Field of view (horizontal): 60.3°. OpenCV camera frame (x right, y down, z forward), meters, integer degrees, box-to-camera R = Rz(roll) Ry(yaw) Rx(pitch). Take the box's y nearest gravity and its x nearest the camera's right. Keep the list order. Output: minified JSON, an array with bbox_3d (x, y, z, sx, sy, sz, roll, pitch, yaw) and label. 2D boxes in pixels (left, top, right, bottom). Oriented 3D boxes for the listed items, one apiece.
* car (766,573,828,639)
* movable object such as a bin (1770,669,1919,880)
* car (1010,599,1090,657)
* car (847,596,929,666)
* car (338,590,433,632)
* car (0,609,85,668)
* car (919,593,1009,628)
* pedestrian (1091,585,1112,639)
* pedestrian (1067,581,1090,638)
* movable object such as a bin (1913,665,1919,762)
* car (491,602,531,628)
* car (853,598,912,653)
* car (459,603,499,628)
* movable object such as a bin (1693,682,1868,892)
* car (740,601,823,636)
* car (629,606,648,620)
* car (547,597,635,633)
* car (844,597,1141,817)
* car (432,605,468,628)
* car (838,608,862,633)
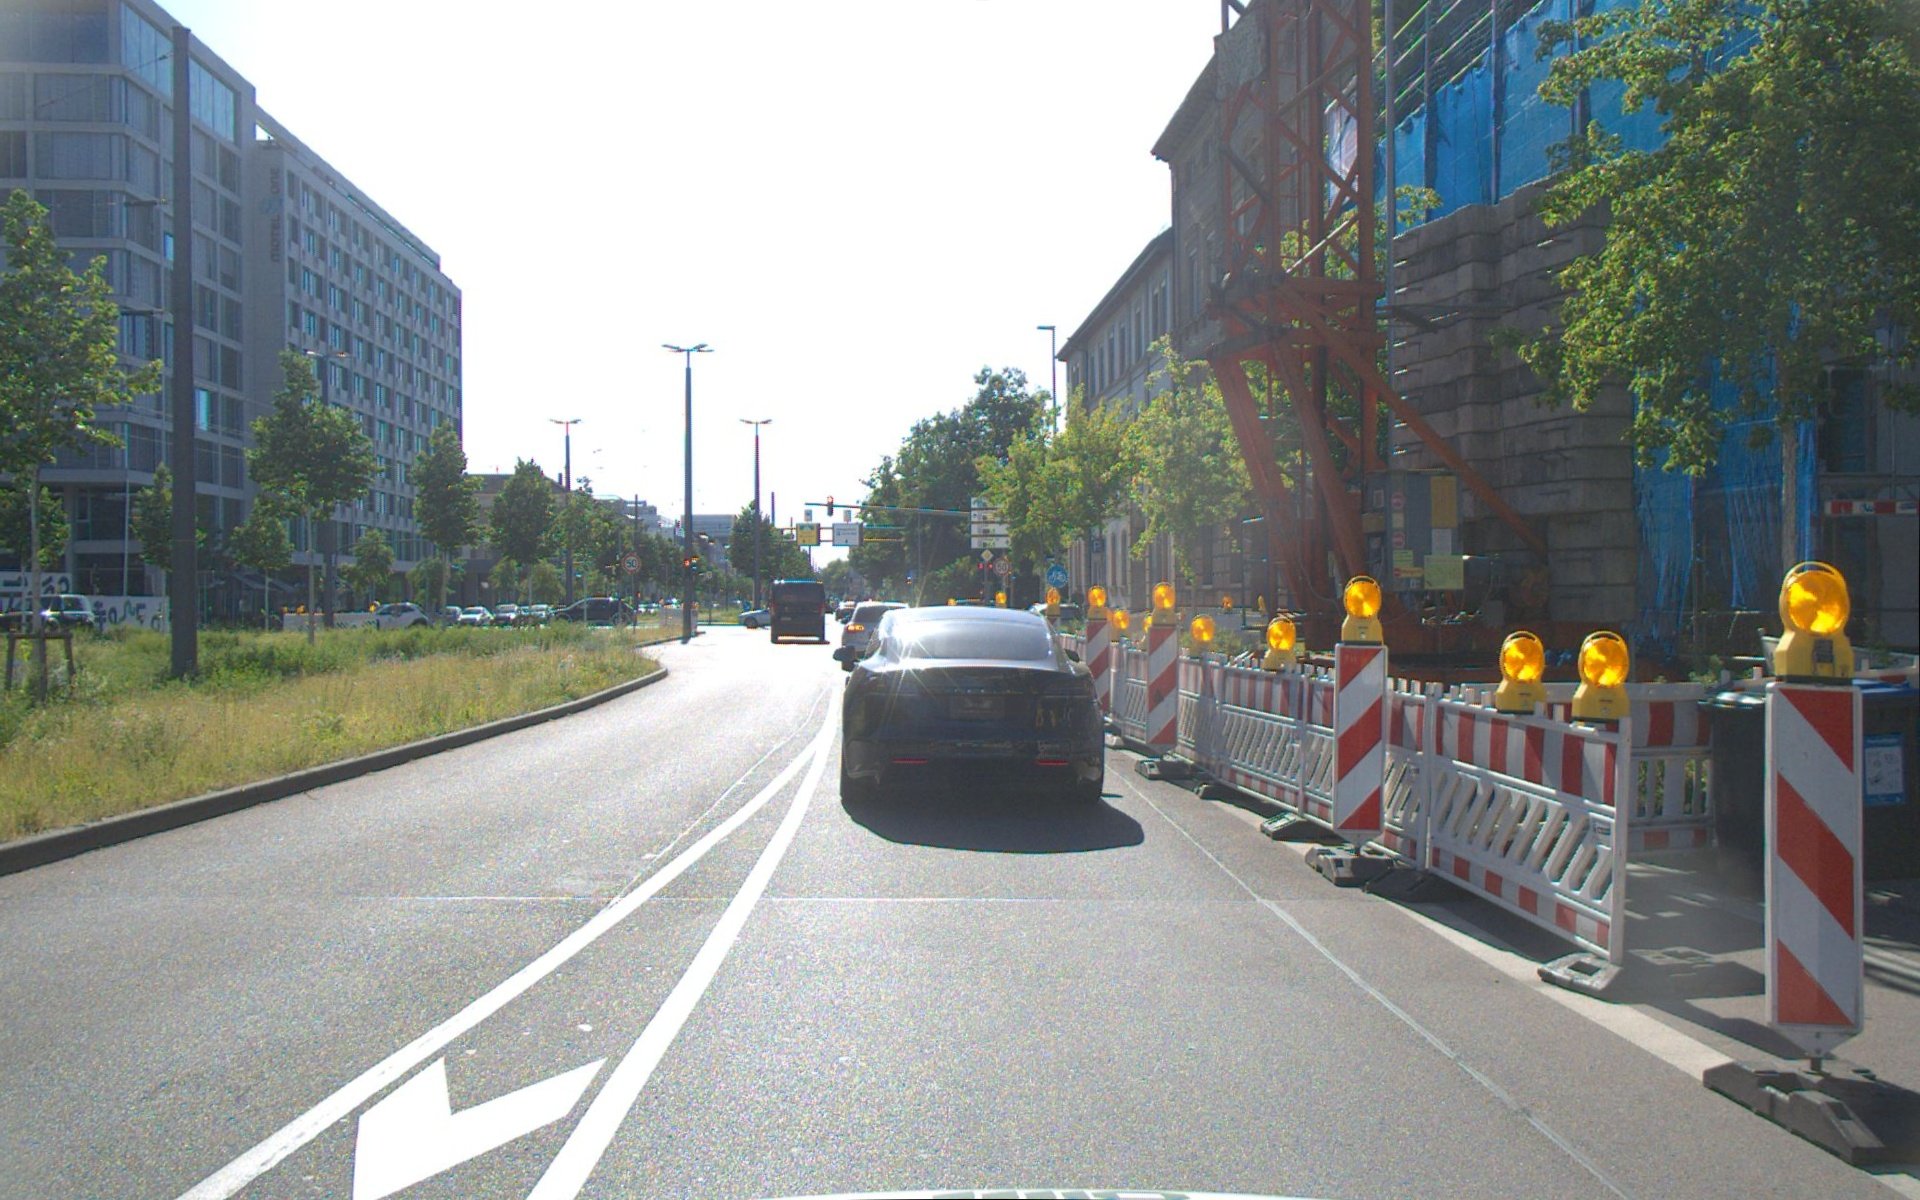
[{"bbox_3d":[-6.060,0.202,61.889,2.175,2.307,4.479,1,0,-5],"label":"car"},{"bbox_3d":[5.119,0.968,9.411,0.583,1.076,0.730,-4,0,-3],"label":"movable object such as a bin"},{"bbox_3d":[2.502,0.753,47.056,1.615,1.501,4.696,-3,0,-4],"label":"car"},{"bbox_3d":[-1.674,0.648,37.262,1.713,1.452,4.834,1,0,-4],"label":"car"},{"bbox_3d":[-27.658,0.507,79.705,3.946,1.952,1.889,0,0,-39],"label":"car"},{"bbox_3d":[-32.885,1.316,58.204,1.869,1.952,4.329,0,0,1],"label":"car"},{"bbox_3d":[0.238,0.537,87.505,4.415,1.824,2.002,0,0,12],"label":"car"},{"bbox_3d":[4.945,0.434,57.931,0.552,1.852,0.587,-3,0,-4],"label":"pedestrian"},{"bbox_3d":[4.144,0.328,57.904,0.645,1.946,0.587,-3,0,-4],"label":"pedestrian"},{"bbox_3d":[5.982,0.900,9.385,0.577,1.076,0.782,-5,1,-8],"label":"movable object such as a bin"},{"bbox_3d":[-30.443,1.008,112.221,1.755,1.680,3.997,0,0,-3],"label":"car"},{"bbox_3d":[-2.361,0.740,50.104,1.715,1.554,4.002,1,0,-3],"label":"car"},{"bbox_3d":[-33.143,1.075,114.117,1.755,1.680,3.997,0,0,-3],"label":"car"},{"bbox_3d":[4.531,1.015,9.171,0.576,1.076,0.730,1,0,-3],"label":"movable object such as a bin"},{"bbox_3d":[-9.605,1.002,89.009,4.426,1.824,1.997,0,0,-7],"label":"car"},{"bbox_3d":[-40.482,1.592,208.278,1.755,1.680,3.997,0,0,-3],"label":"car"},{"bbox_3d":[-19.224,0.749,86.134,4.438,1.824,1.992,0,0,-16],"label":"car"},{"bbox_3d":[0.073,0.731,13.550,2.011,1.469,4.520,1,0,-4],"label":"car"},{"bbox_3d":[-39.340,1.264,127.647,1.755,1.680,3.997,0,0,-3],"label":"car"},{"bbox_3d":[-8.665,1.615,129.896,1.757,1.906,3.845,1,-1,-5],"label":"car"}]
